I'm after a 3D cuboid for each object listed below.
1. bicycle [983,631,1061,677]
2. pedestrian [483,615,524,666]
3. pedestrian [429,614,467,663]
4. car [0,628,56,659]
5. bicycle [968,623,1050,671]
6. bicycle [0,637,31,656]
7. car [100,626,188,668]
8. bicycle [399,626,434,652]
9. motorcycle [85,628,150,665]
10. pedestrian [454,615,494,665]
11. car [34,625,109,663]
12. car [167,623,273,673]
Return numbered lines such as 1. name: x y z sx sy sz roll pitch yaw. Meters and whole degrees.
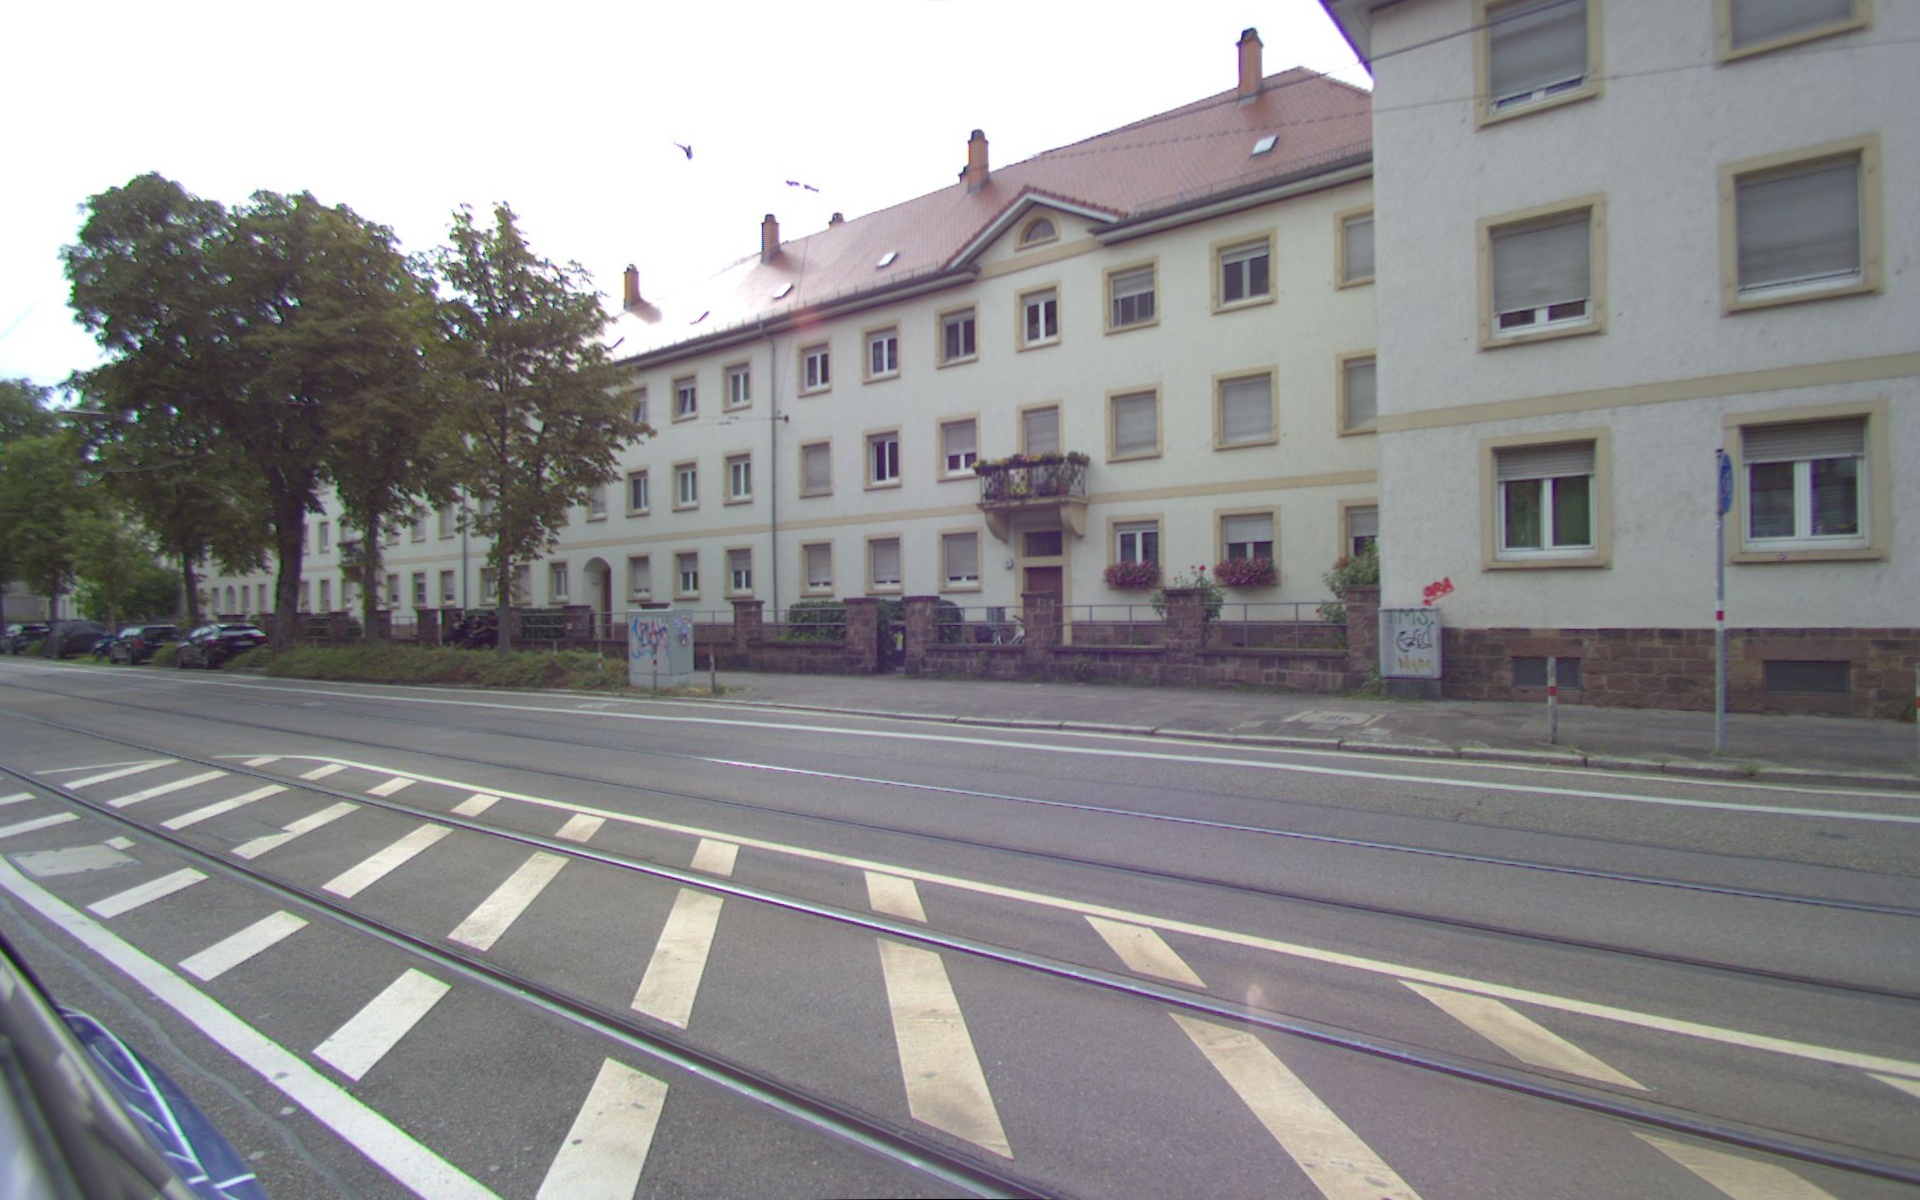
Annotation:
1. bicycle: 1.287 1.121 21.226 1.670 0.922 0.473 -2 -2 38
2. pedestrian: -13.409 1.184 29.725 0.730 1.476 0.826 -1 -1 33
3. pedestrian: -15.986 1.192 31.591 0.730 1.524 0.826 -1 -1 33
4. car: -47.486 2.176 51.215 4.291 1.481 1.682 -2 -1 36
5. bicycle: 0.976 0.924 20.250 1.670 0.922 0.473 -2 -2 38
6. bicycle: -50.968 2.512 54.237 0.670 0.978 1.656 -1 -1 29
7. car: -31.106 1.766 38.550 4.294 1.434 1.681 -2 0 38
8. bicycle: -18.835 1.353 35.077 1.548 0.869 0.503 -2 -2 38
9. motorcycle: -34.095 1.870 40.967 0.590 1.269 1.852 -2 4 34
10. pedestrian: -14.667 1.211 30.547 0.730 1.476 0.826 -1 -1 33
11. car: -40.084 1.961 45.621 4.294 1.624 1.768 -2 -1 38
12. car: -24.578 1.564 33.548 4.294 1.434 1.681 -2 2 38
